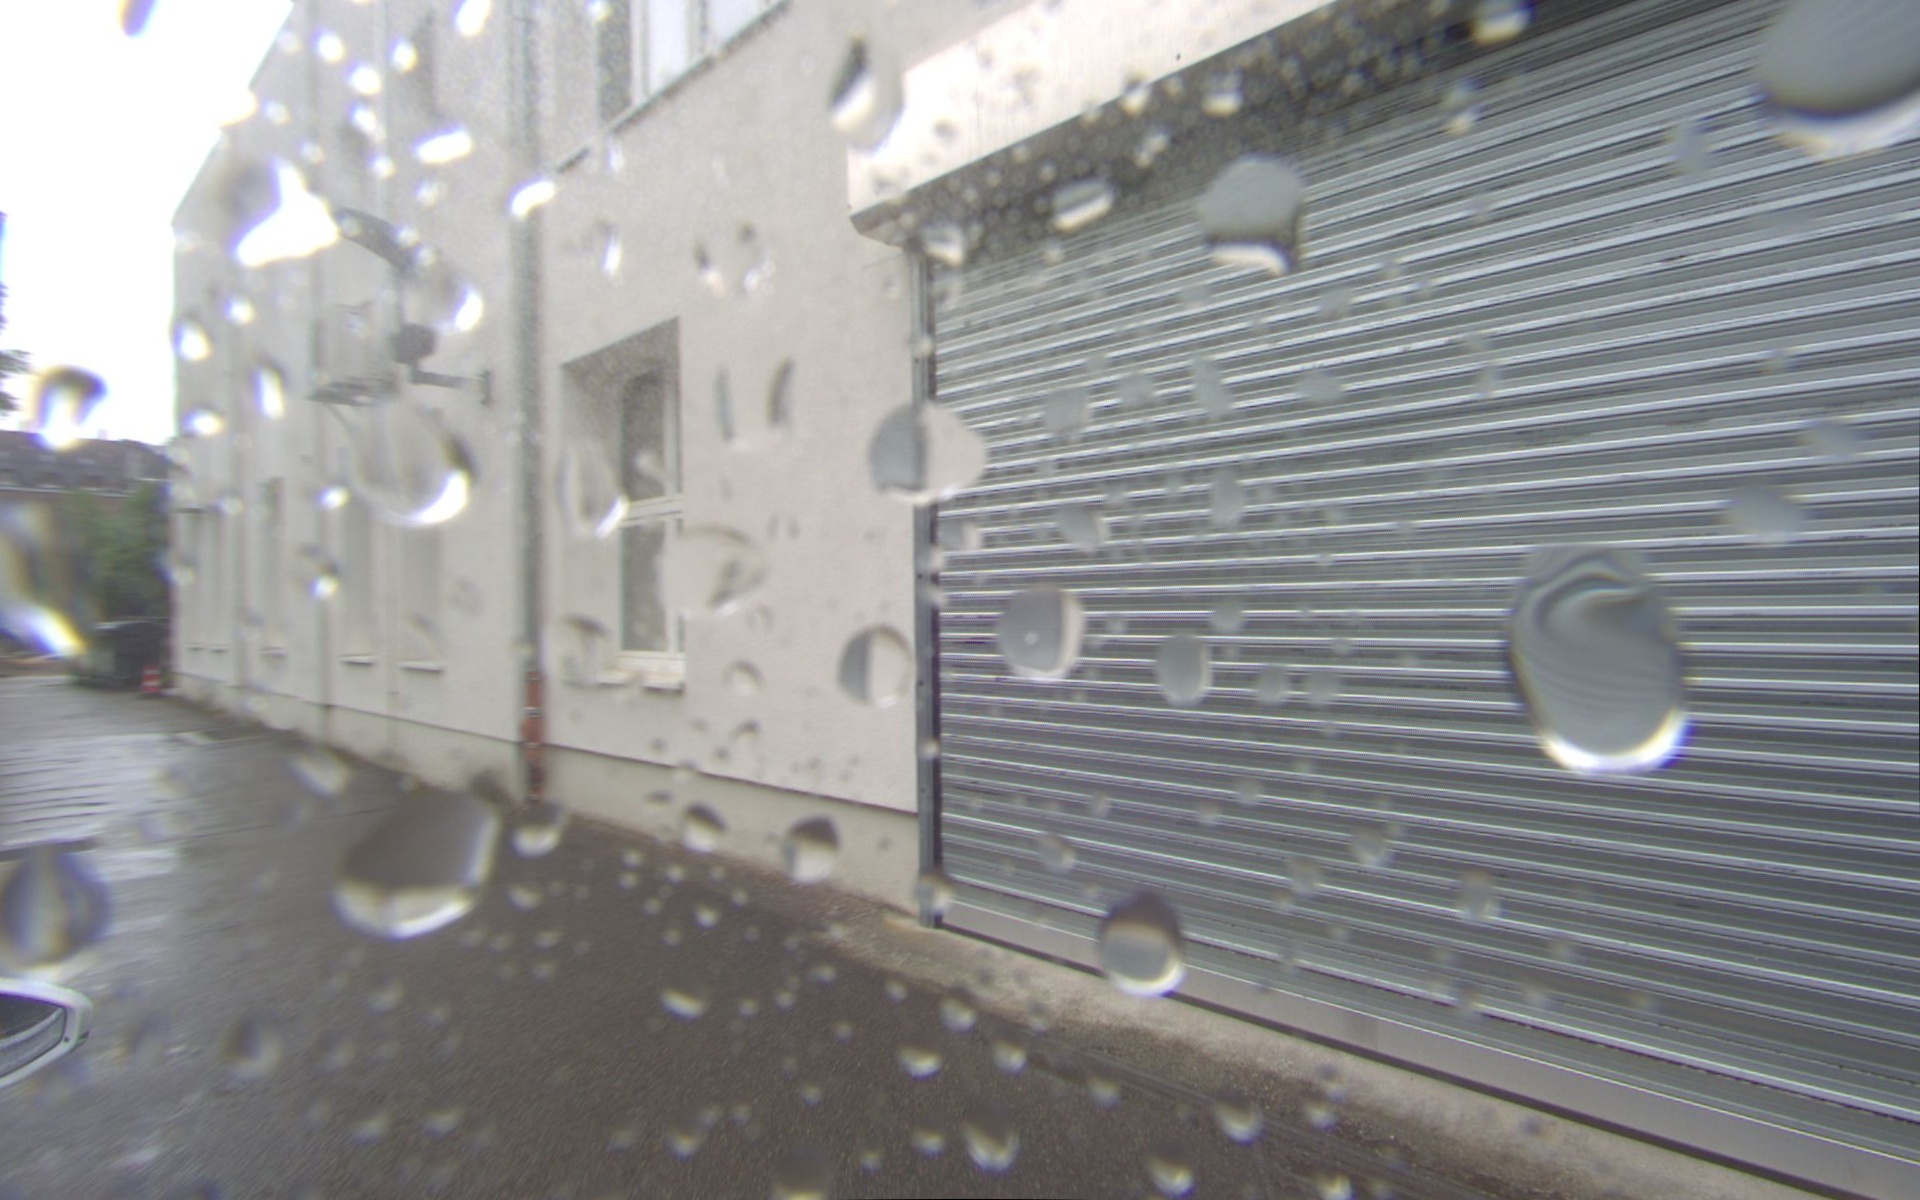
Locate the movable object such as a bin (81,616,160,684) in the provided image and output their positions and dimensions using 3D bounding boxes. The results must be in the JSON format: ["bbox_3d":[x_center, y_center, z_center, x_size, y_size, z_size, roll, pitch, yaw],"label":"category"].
[{"bbox_3d":[-18.876,1.118,22.518,1.281,1.454,1.208,-4,-3,43],"label":"movable object such as a bin"}]

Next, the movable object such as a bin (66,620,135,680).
[{"bbox_3d":[-21.959,1.277,25.575,1.246,1.454,1.208,-4,-3,43],"label":"movable object such as a bin"}]

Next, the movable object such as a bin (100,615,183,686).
[{"bbox_3d":[-17.555,1.080,21.477,1.223,1.454,1.208,-4,-3,43],"label":"movable object such as a bin"}]

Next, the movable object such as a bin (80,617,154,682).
[{"bbox_3d":[-19.968,1.165,23.713,1.223,1.487,1.208,-4,-3,43],"label":"movable object such as a bin"}]

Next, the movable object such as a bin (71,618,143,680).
[{"bbox_3d":[-20.977,1.203,24.629,1.246,1.454,1.208,-4,-3,43],"label":"movable object such as a bin"}]
